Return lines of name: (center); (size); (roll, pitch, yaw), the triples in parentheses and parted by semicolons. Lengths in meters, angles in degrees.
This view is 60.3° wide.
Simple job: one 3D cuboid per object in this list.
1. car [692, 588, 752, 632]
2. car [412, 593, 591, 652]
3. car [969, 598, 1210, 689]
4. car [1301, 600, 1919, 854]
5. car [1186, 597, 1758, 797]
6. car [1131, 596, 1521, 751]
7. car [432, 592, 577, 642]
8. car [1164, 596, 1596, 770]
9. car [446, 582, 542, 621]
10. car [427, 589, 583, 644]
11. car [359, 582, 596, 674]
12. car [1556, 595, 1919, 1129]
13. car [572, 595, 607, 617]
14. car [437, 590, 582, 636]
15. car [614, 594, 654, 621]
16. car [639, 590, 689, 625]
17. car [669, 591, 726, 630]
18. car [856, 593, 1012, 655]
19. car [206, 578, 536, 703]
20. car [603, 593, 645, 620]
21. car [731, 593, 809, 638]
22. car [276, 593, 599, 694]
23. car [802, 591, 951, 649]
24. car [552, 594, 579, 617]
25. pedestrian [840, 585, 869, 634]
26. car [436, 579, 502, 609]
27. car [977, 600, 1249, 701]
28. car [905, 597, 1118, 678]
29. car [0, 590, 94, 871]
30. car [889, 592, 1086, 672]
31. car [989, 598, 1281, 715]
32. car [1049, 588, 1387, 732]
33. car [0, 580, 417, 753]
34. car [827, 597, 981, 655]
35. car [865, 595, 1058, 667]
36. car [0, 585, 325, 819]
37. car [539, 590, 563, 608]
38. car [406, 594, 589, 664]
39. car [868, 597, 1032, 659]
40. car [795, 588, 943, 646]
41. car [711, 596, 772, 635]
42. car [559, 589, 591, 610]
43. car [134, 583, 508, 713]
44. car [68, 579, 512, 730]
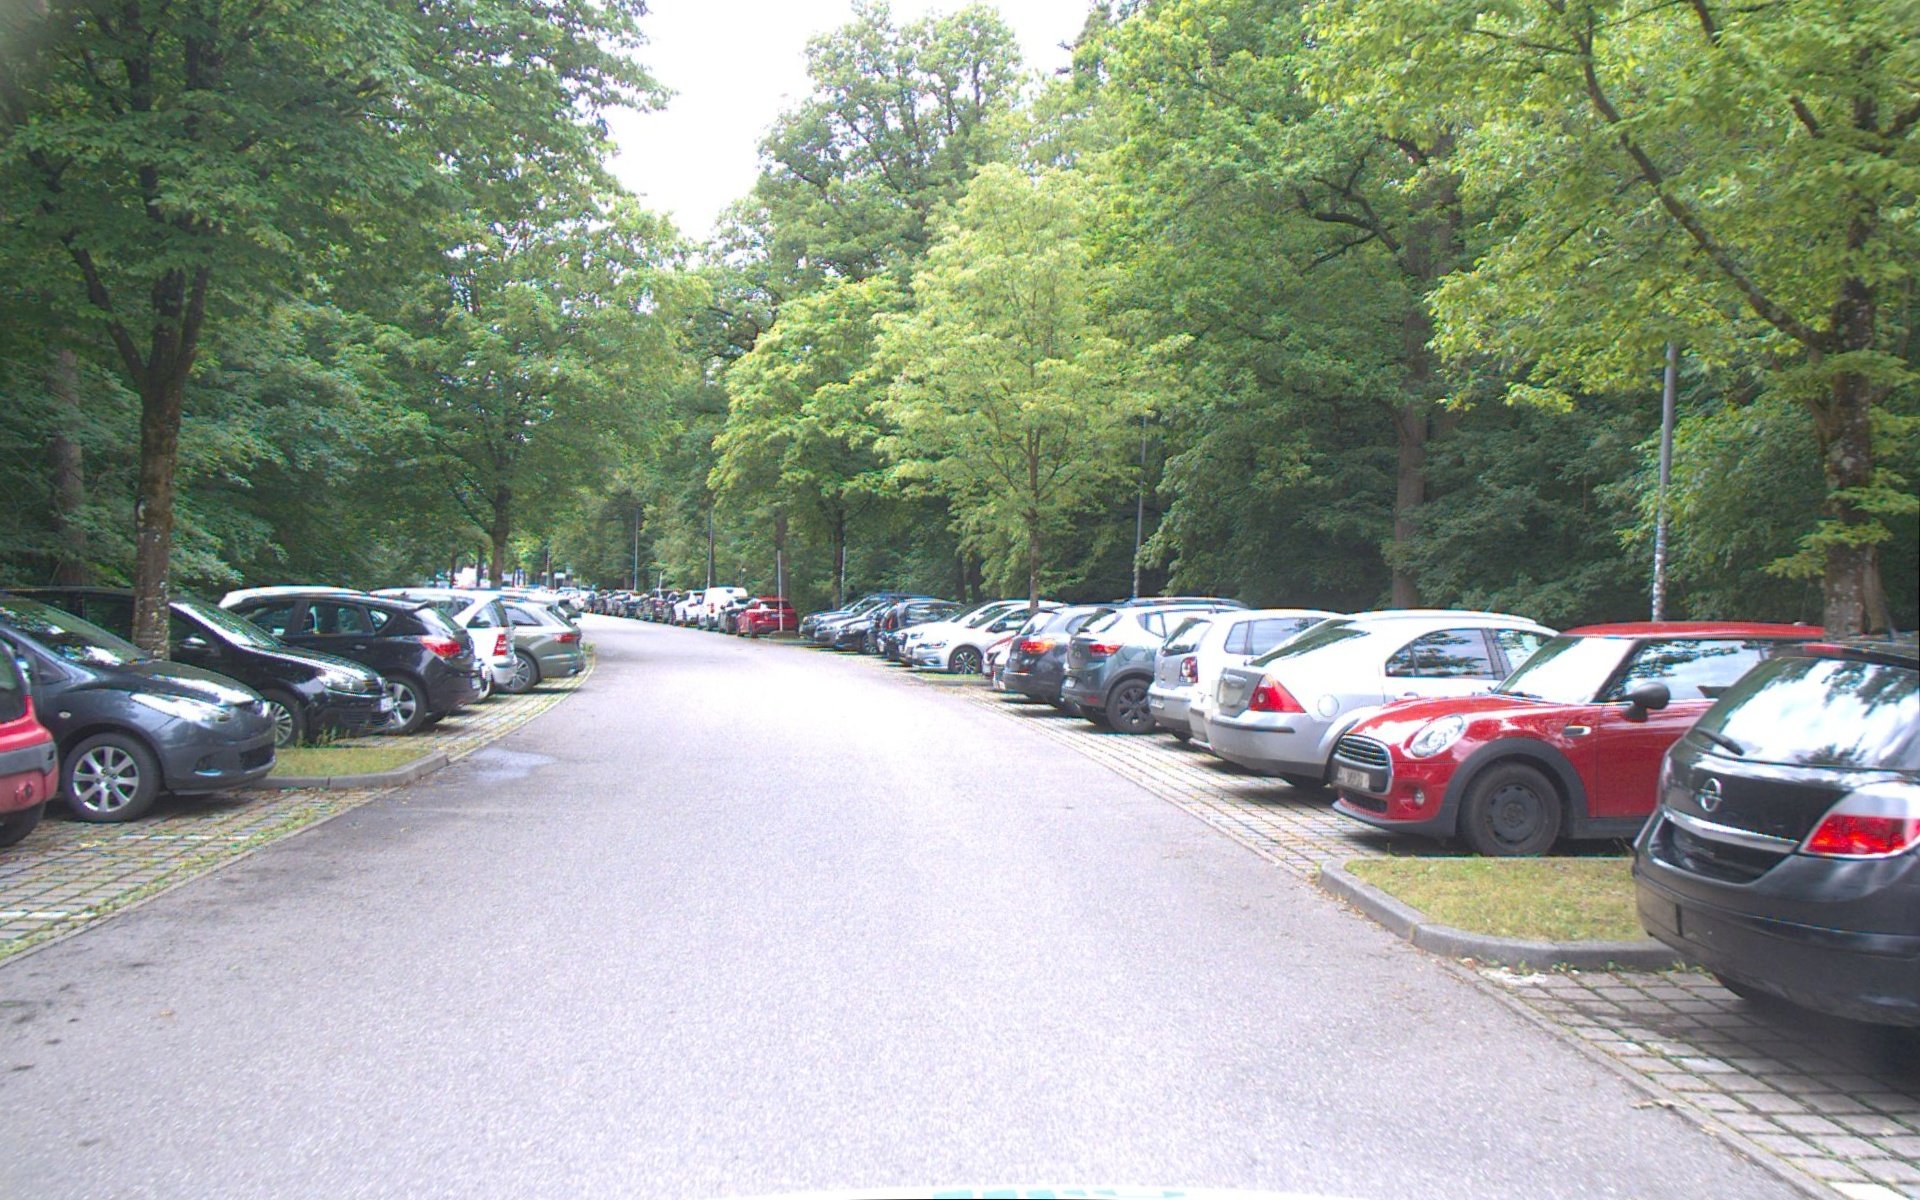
car: (-10.181, 0.412, 70.512); (1.718, 1.811, 4.527); (1, 0, -19)
car: (-11.720, 0.577, 42.594); (4.329, 1.449, 2.029); (1, 0, -13)
car: (2.214, 0.749, 28.628); (3.736, 1.466, 1.861); (1, 1, -19)
car: (4.426, 0.761, 10.802); (3.911, 1.475, 1.938); (1, 0, -7)
car: (4.033, 0.748, 13.445); (4.046, 1.487, 1.863); (1, -1, -5)
car: (3.918, 0.774, 17.997); (3.771, 1.573, 1.727); (1, 0, -9)
car: (-14.413, 0.551, 52.311); (4.300, 1.512, 1.881); (1, -1, -20)
car: (3.938, 0.771, 15.826); (3.631, 1.537, 1.749); (1, -1, -7)
car: (-21.421, 0.065, 75.973); (4.159, 1.661, 2.019); (1, 0, -18)
car: (-12.984, 0.468, 47.433); (4.192, 1.512, 2.051); (1, 0, -14)
car: (-8.964, 0.513, 31.020); (3.881, 1.656, 1.997); (0, 0, -3)
car: (4.372, 0.765, 5.733); (3.907, 1.509, 1.921); (1, 0, -3)
car: (-26.768, 0.427, 119.426); (1.909, 1.501, 3.967); (1, 0, -21)
car: (-14.980, 0.441, 54.956); (4.496, 1.473, 2.073); (1, 0, -21)
car: (-19.177, 0.441, 97.304); (1.613, 1.503, 4.125); (1, 0, -21)
car: (-15.653, 0.386, 87.350); (1.861, 1.778, 4.921); (1, 0, -19)
car: (-12.158, 0.468, 76.366); (1.759, 1.691, 4.690); (1, 0, -20)
car: (-0.692, 0.605, 43.030); (3.762, 1.558, 1.844); (0, 0, -14)
car: (-8.240, 0.551, 23.536); (4.158, 1.676, 1.964); (0, 0, -12)
car: (-20.918, 0.403, 102.865); (1.949, 1.564, 4.595); (1, 0, -20)
car: (-6.950, 0.535, 60.093); (1.962, 1.505, 4.949); (1, 0, -17)
car: (-8.047, 0.648, 25.897); (4.555, 1.504, 2.090); (0, 0, -10)
car: (-2.437, 0.578, 47.994); (3.928, 1.579, 1.964); (1, 0, -20)
car: (-31.051, 0.443, 130.232); (1.685, 1.758, 3.978); (1, 0, -19)
pedestrian: (-3.792, 0.342, 59.593); (0.804, 1.756, 0.999); (2, -1, -17)
car: (-31.690, -0.366, 106.752); (3.932, 1.848, 2.101); (1, 0, -23)
car: (2.338, 0.774, 25.812); (3.861, 1.435, 1.874); (1, 1, -10)
car: (1.002, 0.750, 33.227); (3.909, 1.509, 1.877); (1, 1, -15)
car: (-6.920, 0.684, 8.962); (3.535, 1.500, 1.673); (1, 0, -3)
car: (0.550, 0.673, 35.718); (3.936, 1.586, 1.973); (1, 1, -10)
car: (2.405, 0.775, 23.165); (3.701, 1.507, 1.769); (1, 1, -12)
car: (3.103, 0.714, 20.369); (3.697, 1.617, 1.946); (1, 1, -8)
car: (-7.417, 0.602, 15.446); (4.152, 1.499, 1.717); (1, -1, -7)
car: (-1.567, 0.710, 45.609); (3.919, 1.501, 1.946); (1, 0, -14)
car: (0.005, 0.710, 38.185); (4.117, 1.538, 1.886); (1, 1, -15)
car: (-6.689, 0.654, 11.533); (3.911, 1.517, 1.705); (0, 0, -7)
car: (-35.071, -0.082, 141.720); (1.685, 1.535, 3.978); (1, 0, -19)
car: (-9.906, 0.610, 35.682); (3.660, 1.444, 1.867); (0, 0, -12)
car: (-0.263, 0.682, 40.837); (3.761, 1.483, 1.803); (0, 0, -13)
car: (-2.791, 0.516, 50.504); (4.195, 1.695, 1.950); (1, 0, -15)
car: (-8.676, 0.580, 65.430); (1.698, 1.447, 4.264); (1, 0, -17)
car: (-29.081, -0.045, 124.884); (1.699, 1.520, 3.745); (1, 0, -24)
car: (-7.991, 0.583, 21.049); (4.156, 1.560, 1.758); (0, 0, -10)
car: (-7.304, 0.589, 18.437); (4.152, 1.557, 2.004); (1, 0, -6)
